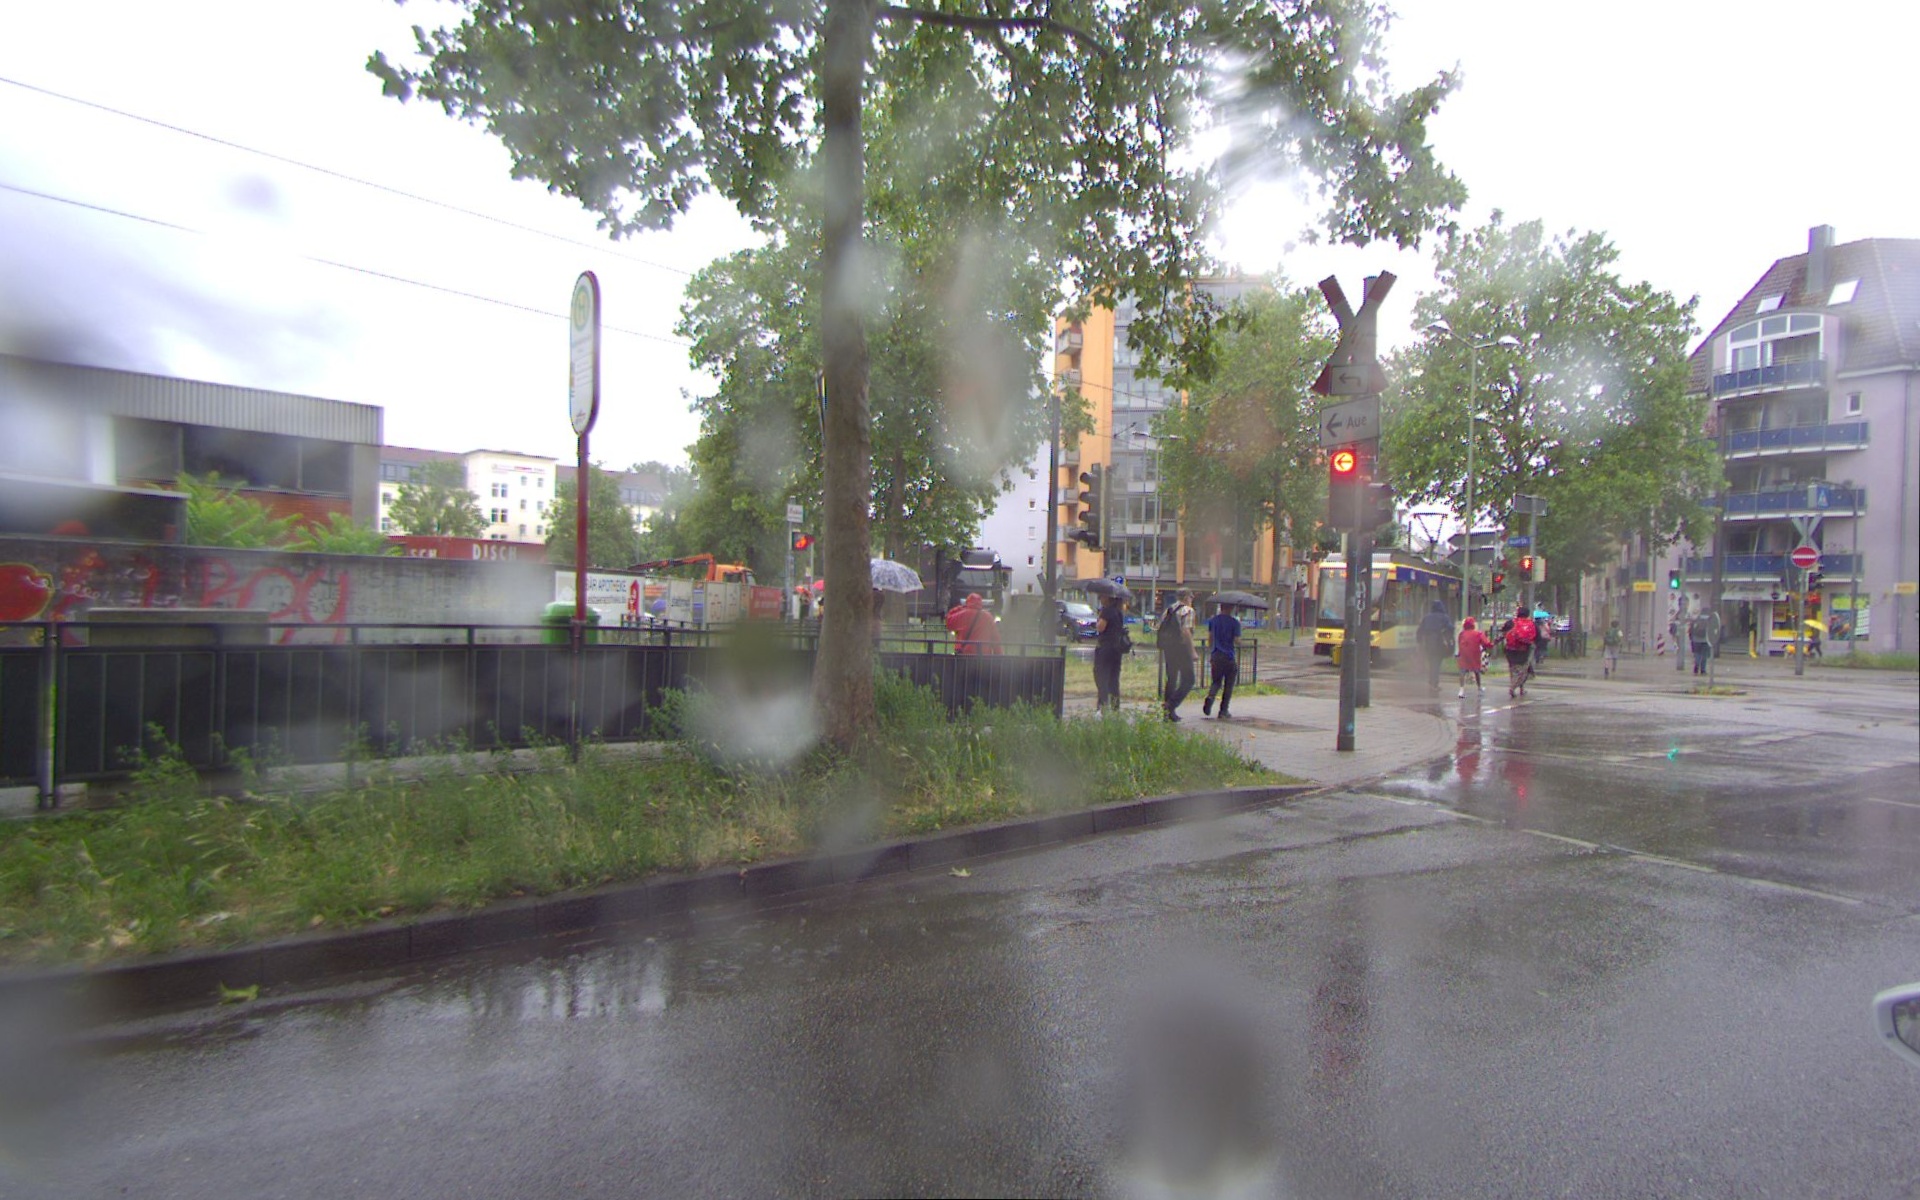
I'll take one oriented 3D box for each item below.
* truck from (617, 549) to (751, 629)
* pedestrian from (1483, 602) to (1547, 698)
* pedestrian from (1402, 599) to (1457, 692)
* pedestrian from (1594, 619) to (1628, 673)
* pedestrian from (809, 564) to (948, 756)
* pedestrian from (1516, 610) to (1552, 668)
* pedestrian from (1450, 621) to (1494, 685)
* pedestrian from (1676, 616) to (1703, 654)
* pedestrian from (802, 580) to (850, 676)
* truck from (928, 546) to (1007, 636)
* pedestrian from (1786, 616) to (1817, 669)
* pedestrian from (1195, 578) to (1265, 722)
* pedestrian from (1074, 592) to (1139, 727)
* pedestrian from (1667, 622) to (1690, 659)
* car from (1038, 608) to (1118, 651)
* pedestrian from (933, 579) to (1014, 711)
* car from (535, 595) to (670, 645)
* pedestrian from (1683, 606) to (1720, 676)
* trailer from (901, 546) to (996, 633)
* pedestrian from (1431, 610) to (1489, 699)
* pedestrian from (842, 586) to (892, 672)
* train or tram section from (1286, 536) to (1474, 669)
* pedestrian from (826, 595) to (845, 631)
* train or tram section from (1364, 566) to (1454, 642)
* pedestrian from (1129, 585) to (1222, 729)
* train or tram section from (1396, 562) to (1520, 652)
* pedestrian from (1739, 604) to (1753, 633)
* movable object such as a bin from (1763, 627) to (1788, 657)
[{"bbox_3d":[-11.910,-0.434,43.608,5.383,3.205,2.164,2,0,-16],"label":"truck"},{"bbox_3d":[9.729,0.852,17.613,0.809,1.646,0.724,0,0,-37],"label":"pedestrian"},{"bbox_3d":[8.928,0.856,19.135,0.823,1.721,0.689,-2,0,17],"label":"pedestrian"},{"bbox_3d":[17.576,1.228,27.136,0.638,1.414,0.782,1,0,26],"label":"pedestrian"},{"bbox_3d":[-0.820,0.589,10.361,0.967,1.851,1.075,-2,0,27],"label":"pedestrian"},{"bbox_3d":[18.324,1.221,32.080,0.943,1.789,0.951,2,0,31],"label":"pedestrian"},{"bbox_3d":[11.279,1.152,22.126,0.704,1.367,0.650,1,1,-44],"label":"pedestrian"},{"bbox_3d":[30.818,1.474,42.439,0.737,1.553,0.791,2,0,23],"label":"pedestrian"},{"bbox_3d":[-2.713,0.558,20.307,0.768,1.891,0.936,2,0,-18],"label":"pedestrian"},{"bbox_3d":[0.269,-0.387,46.055,2.593,3.842,4.444,2,0,-13],"label":"truck"},{"bbox_3d":[35.787,1.785,42.730,0.896,2.179,0.884,2,0,34],"label":"pedestrian"},{"bbox_3d":[3.725,0.662,13.865,0.854,1.889,0.892,1,0,16],"label":"pedestrian"},{"bbox_3d":[1.918,0.768,13.185,0.782,1.705,0.660,-2,0,8],"label":"pedestrian"},{"bbox_3d":[32.183,1.818,44.991,0.663,1.622,0.966,2,0,29],"label":"pedestrian"},{"bbox_3d":[4.679,1.151,40.433,1.585,1.551,4.017,1,1,-19],"label":"car"},{"bbox_3d":[0.172,0.553,12.527,0.783,1.593,0.659,-2,0,24],"label":"pedestrian"},{"bbox_3d":[-10.430,0.580,29.400,3.447,1.323,1.405,2,0,10],"label":"car"},{"bbox_3d":[20.503,1.128,27.785,0.777,1.880,0.679,2,1,37],"label":"pedestrian"},{"bbox_3d":[-0.824,-0.463,50.746,2.593,3.899,10.114,2,0,-13],"label":"trailer"},{"bbox_3d":[8.871,0.949,17.813,0.653,1.540,0.677,1,0,-36],"label":"pedestrian"},{"bbox_3d":[-1.939,0.588,20.867,0.675,1.752,0.752,2,1,42],"label":"pedestrian"},{"bbox_3d":[14.871,0.152,34.326,2.821,3.593,15.326,2,0,34],"label":"train or tram section"},{"bbox_3d":[-6.596,0.689,53.295,0.765,1.891,0.940,2,0,4],"label":"pedestrian"},{"bbox_3d":[26.433,0.338,58.429,2.839,3.818,17.211,2,0,30],"label":"train or tram section"},{"bbox_3d":[2.797,0.713,13.046,0.855,1.778,0.826,2,1,41],"label":"pedestrian"},{"bbox_3d":[23.216,0.363,46.232,2.823,3.593,13.668,2,0,36],"label":"train or tram section"},{"bbox_3d":[36.986,0.854,47.282,0.439,1.347,0.558,2,0,43],"label":"pedestrian"},{"bbox_3d":[35.094,1.805,43.220,0.740,1.253,0.665,2,0,34],"label":"movable object such as a bin"}]
